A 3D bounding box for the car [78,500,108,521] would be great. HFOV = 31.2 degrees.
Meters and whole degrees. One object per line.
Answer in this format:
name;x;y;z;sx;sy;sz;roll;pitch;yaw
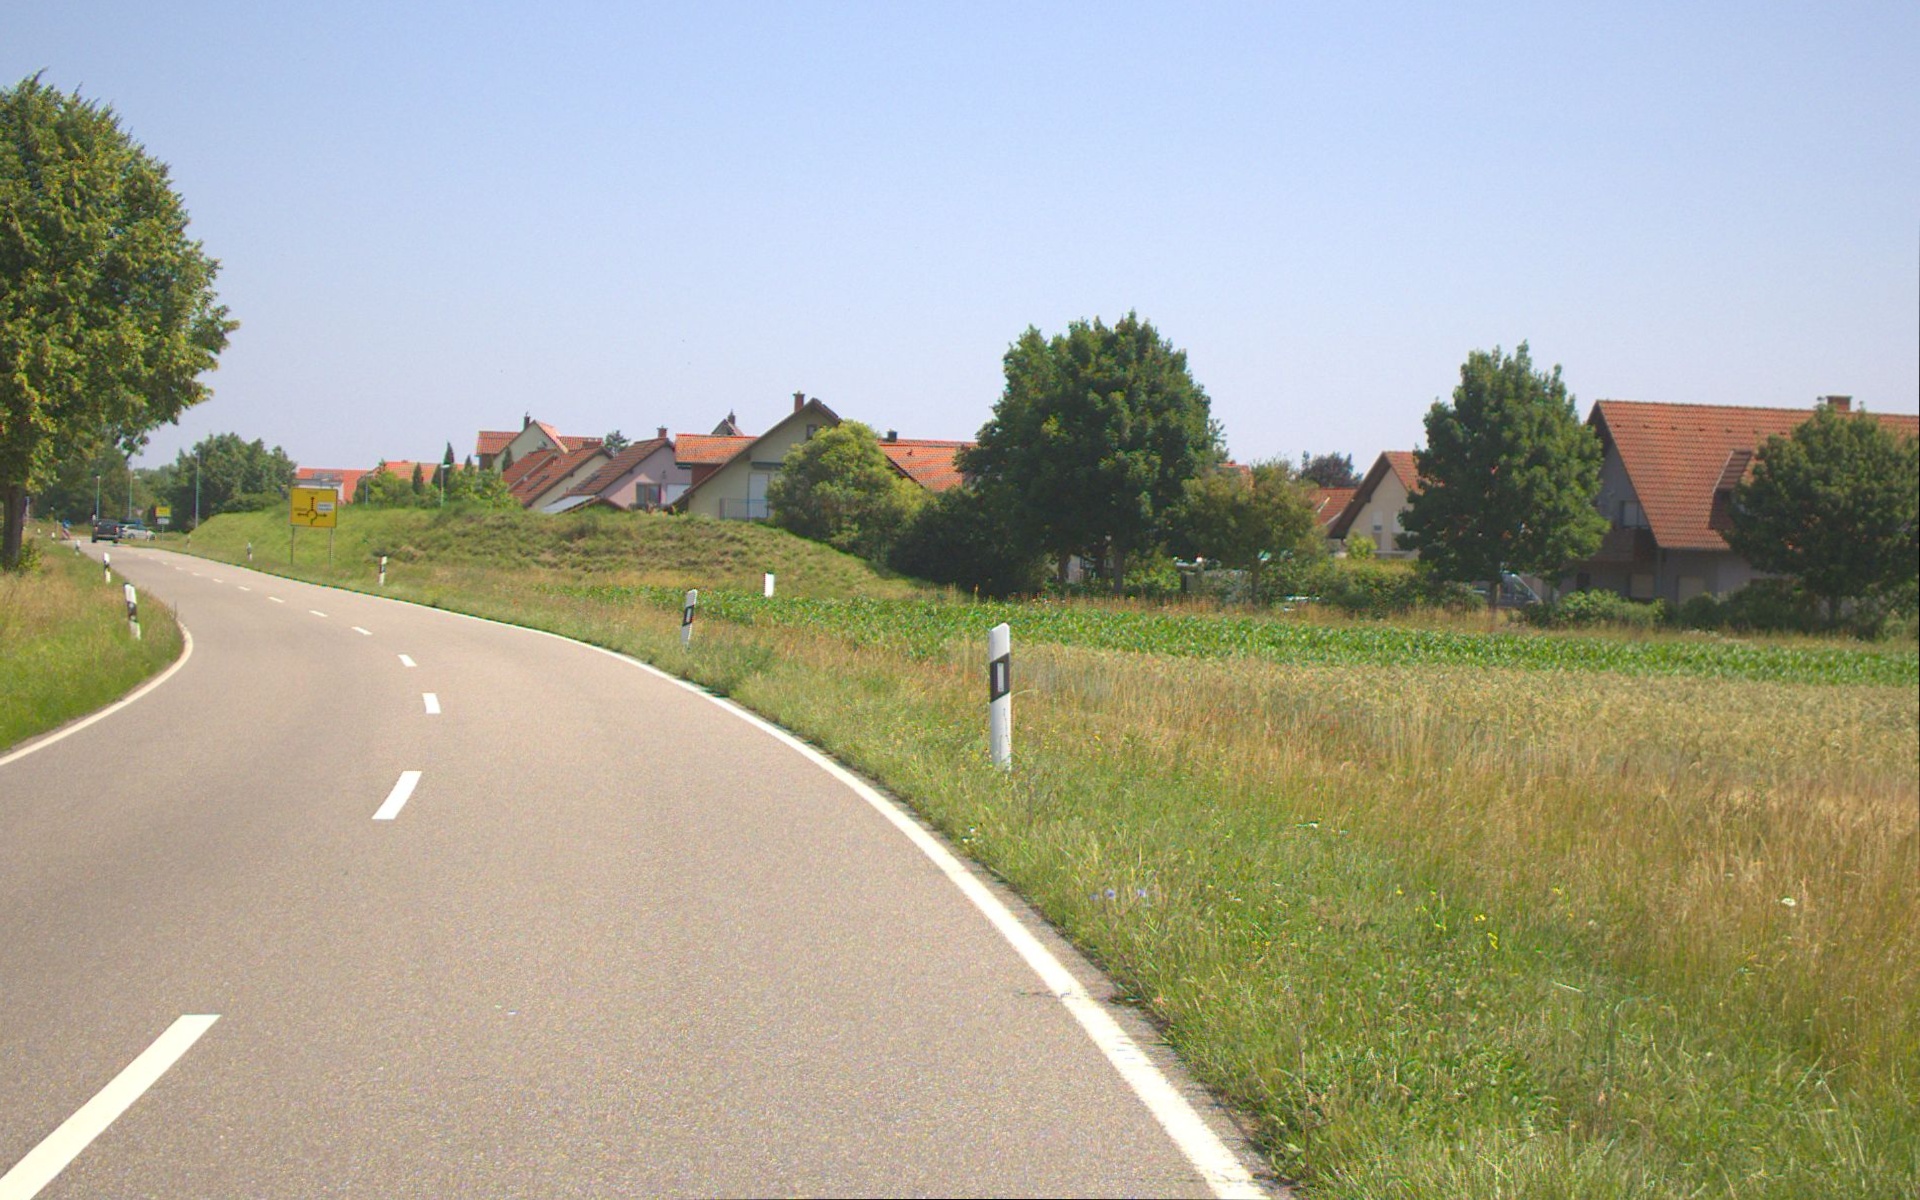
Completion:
car;-63.940;-6.603;253.600;1.838;1.531;3.611;1;1;-10
